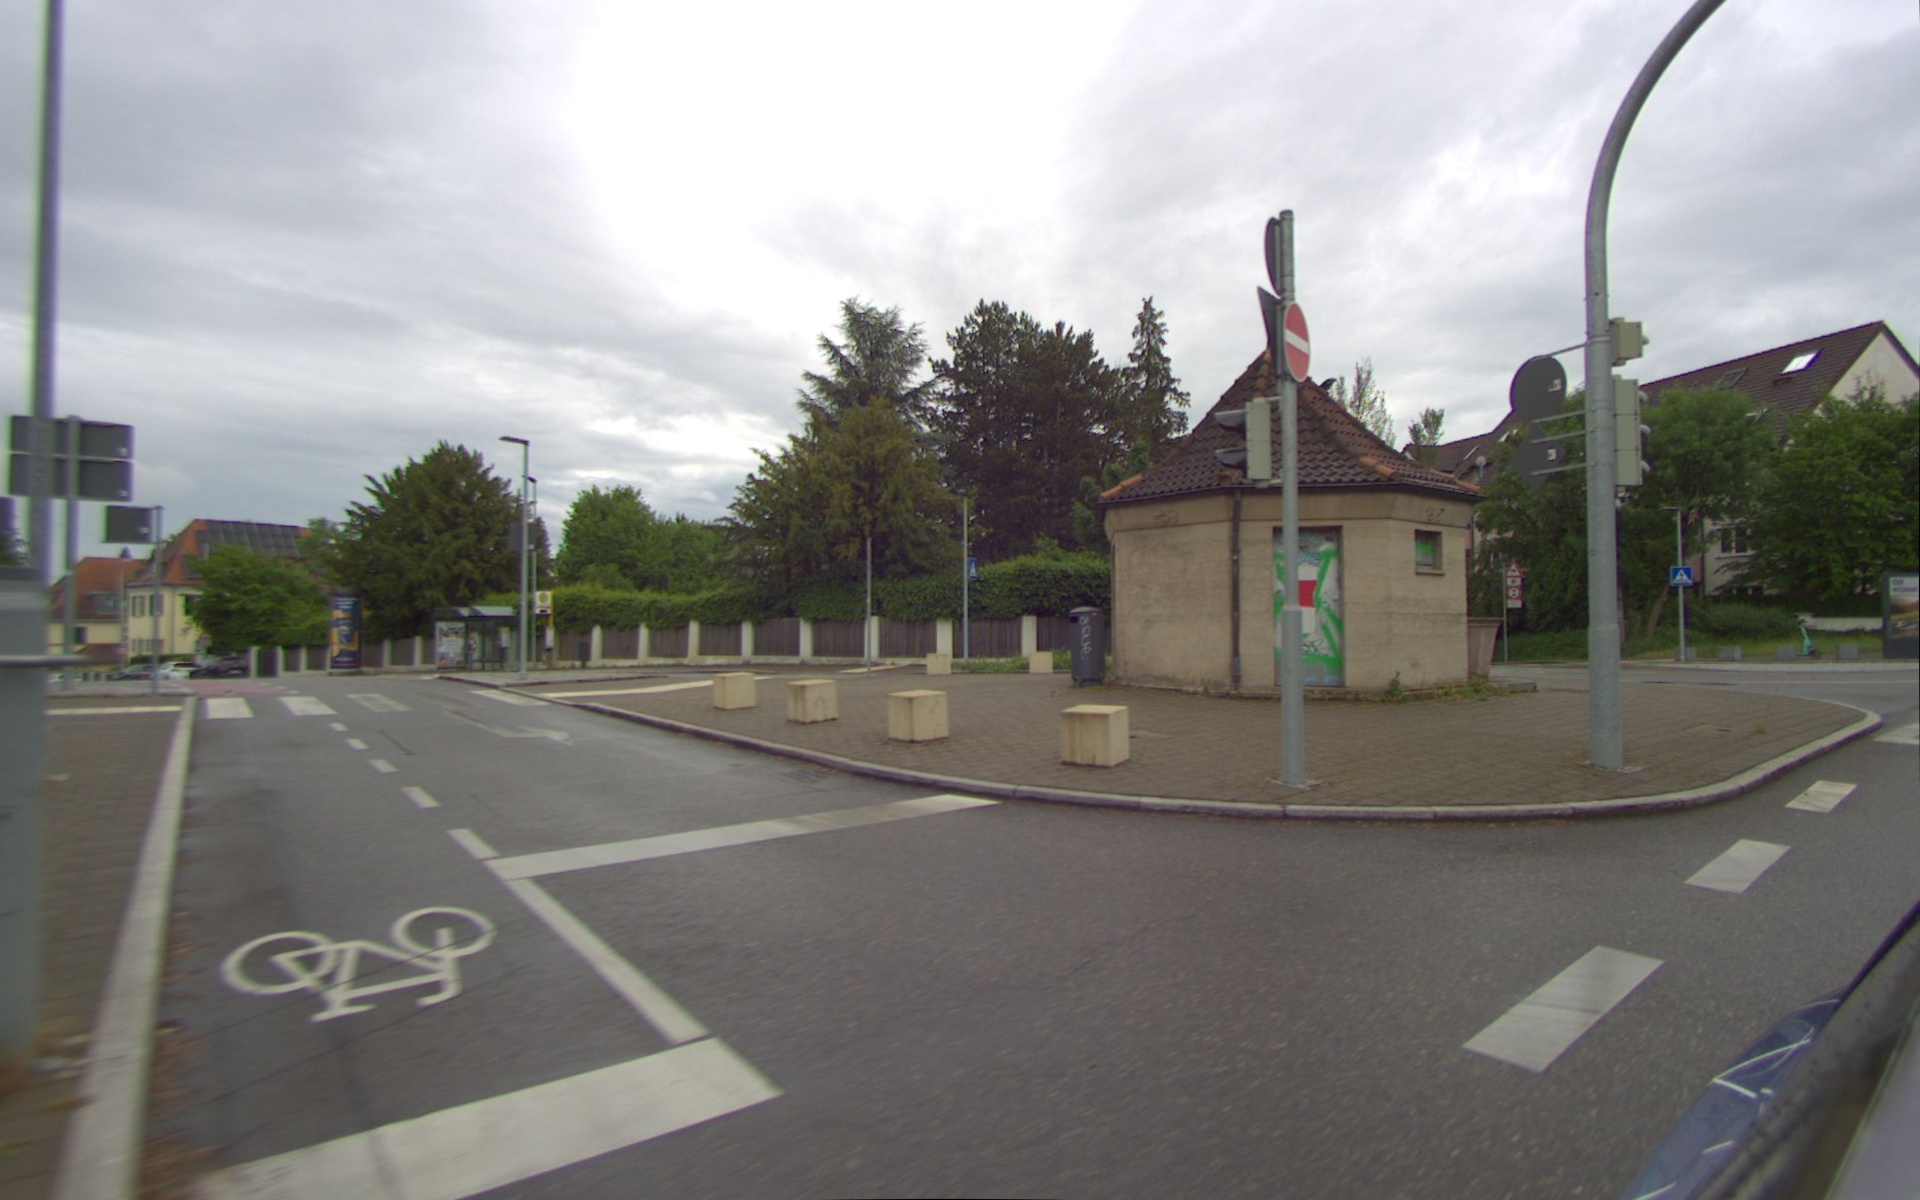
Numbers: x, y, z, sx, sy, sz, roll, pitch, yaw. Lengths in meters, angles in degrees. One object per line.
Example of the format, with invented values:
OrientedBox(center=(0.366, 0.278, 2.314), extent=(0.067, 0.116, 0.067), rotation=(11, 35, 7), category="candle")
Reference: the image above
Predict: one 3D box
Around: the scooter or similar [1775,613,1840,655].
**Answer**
OrientedBox(center=(26.161, 1.060, 31.264), extent=(0.514, 1.223, 1.354), rotation=(-1, -4, -27), category="scooter or similar")

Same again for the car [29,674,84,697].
OrientedBox(center=(-62.324, 5.906, 69.820), extent=(3.968, 1.399, 1.827), rotation=(-3, -2, 32), category="car")

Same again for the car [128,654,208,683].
OrientedBox(center=(-46.269, 3.992, 59.096), extent=(5.419, 1.499, 1.977), rotation=(-3, -2, 32), category="car")

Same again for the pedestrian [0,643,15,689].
OrientedBox(center=(-38.874, 2.680, 41.007), extent=(0.692, 1.861, 0.809), rotation=(-5, -4, 42), category="pedestrian")

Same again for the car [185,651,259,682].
OrientedBox(center=(-40.015, 3.600, 54.863), extent=(3.968, 1.499, 1.977), rotation=(-3, -2, 32), category="car")

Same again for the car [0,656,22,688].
OrientedBox(center=(-47.493, 3.526, 48.921), extent=(3.961, 1.499, 1.981), rotation=(-3, -2, 28), category="car")
